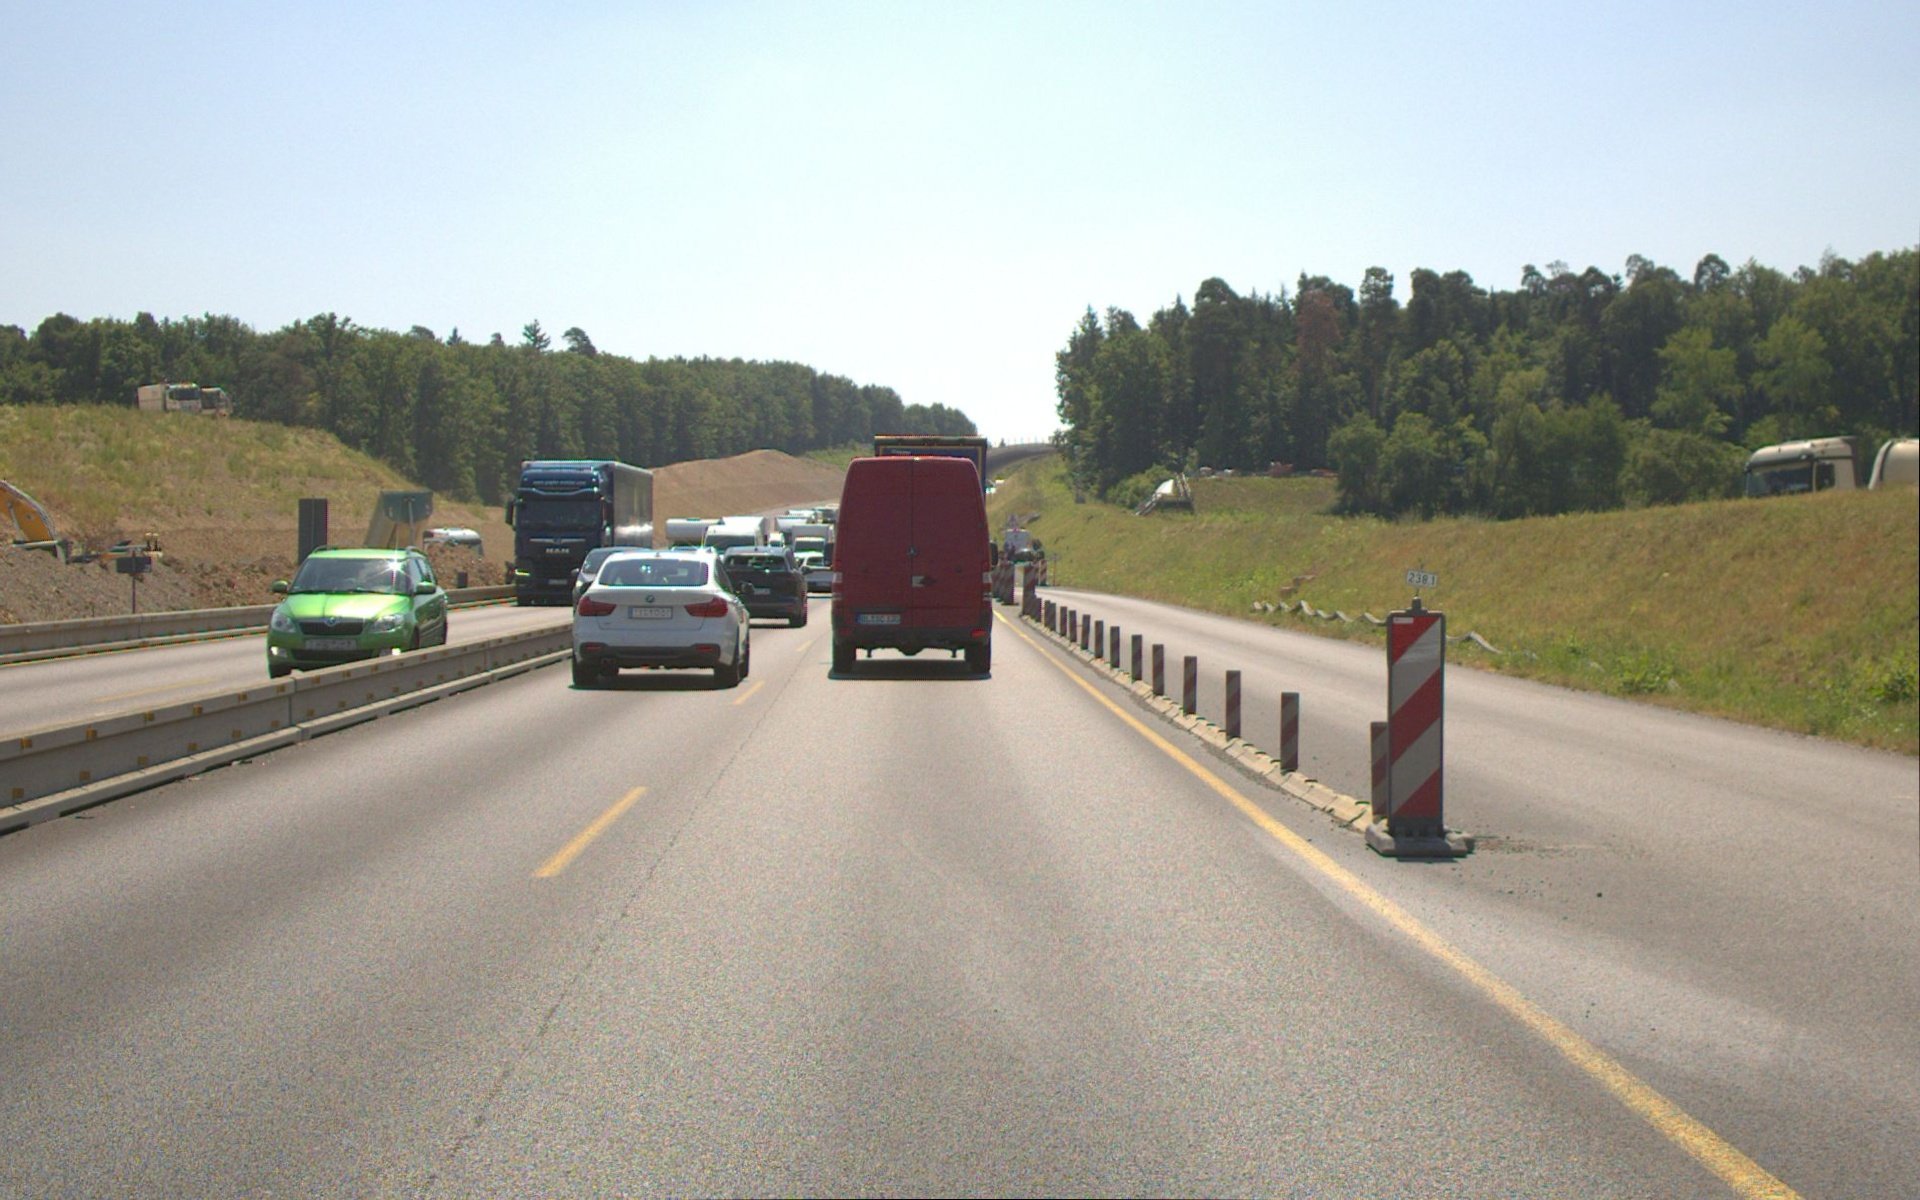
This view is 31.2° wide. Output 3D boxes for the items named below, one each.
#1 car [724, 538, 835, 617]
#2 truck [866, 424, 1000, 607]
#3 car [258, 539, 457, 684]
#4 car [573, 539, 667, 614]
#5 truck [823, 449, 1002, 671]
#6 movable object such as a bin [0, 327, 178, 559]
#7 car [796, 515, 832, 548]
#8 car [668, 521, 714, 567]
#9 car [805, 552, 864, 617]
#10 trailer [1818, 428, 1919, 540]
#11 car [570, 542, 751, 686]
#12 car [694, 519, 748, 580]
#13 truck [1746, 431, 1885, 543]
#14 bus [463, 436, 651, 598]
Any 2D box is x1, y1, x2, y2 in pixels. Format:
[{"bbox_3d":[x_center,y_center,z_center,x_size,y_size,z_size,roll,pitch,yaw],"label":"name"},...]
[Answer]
[{"bbox_3d":[-3.578,-0.475,68.763,1.795,1.529,3.931,0,1,3],"label":"car"},{"bbox_3d":[-0.598,-2.008,82.359,3.015,4.138,8.272,0,1,0],"label":"truck"},{"bbox_3d":[-6.903,0.092,39.744,1.602,1.574,4.168,0,1,-1],"label":"car"},{"bbox_3d":[-7.322,-0.526,74.278,1.652,1.553,4.096,0,1,0],"label":"car"},{"bbox_3d":[-0.525,-0.535,44.273,2.111,2.624,6.484,0,1,1],"label":"truck"},{"bbox_3d":[-34.517,-4.858,108.641,18.710,7.206,3.616,0,1,-2],"label":"movable object such as a bin"},{"bbox_3d":[-8.604,-4.015,202.532,1.993,1.897,4.000,0,1,0],"label":"car"},{"bbox_3d":[-11.887,-2.483,152.130,1.763,2.007,3.827,0,1,-1],"label":"car"},{"bbox_3d":[-3.963,-0.501,109.131,1.763,2.007,3.827,0,1,-1],"label":"car"},{"bbox_3d":[30.202,-3.416,101.419,8.993,3.218,3.332,-1,1,-15],"label":"trailer"},{"bbox_3d":[-3.371,0.110,39.502,1.795,1.529,5.074,1,1,-2],"label":"car"},{"bbox_3d":[-8.535,-1.808,122.875,1.858,2.147,3.626,0,1,-3],"label":"car"},{"bbox_3d":[24.833,-3.231,99.638,2.899,3.102,6.004,0,1,24],"label":"truck"},{"bbox_3d":[-11.768,-2.423,102.339,3.942,4.400,17.202,0,1,-1],"label":"bus"}]
